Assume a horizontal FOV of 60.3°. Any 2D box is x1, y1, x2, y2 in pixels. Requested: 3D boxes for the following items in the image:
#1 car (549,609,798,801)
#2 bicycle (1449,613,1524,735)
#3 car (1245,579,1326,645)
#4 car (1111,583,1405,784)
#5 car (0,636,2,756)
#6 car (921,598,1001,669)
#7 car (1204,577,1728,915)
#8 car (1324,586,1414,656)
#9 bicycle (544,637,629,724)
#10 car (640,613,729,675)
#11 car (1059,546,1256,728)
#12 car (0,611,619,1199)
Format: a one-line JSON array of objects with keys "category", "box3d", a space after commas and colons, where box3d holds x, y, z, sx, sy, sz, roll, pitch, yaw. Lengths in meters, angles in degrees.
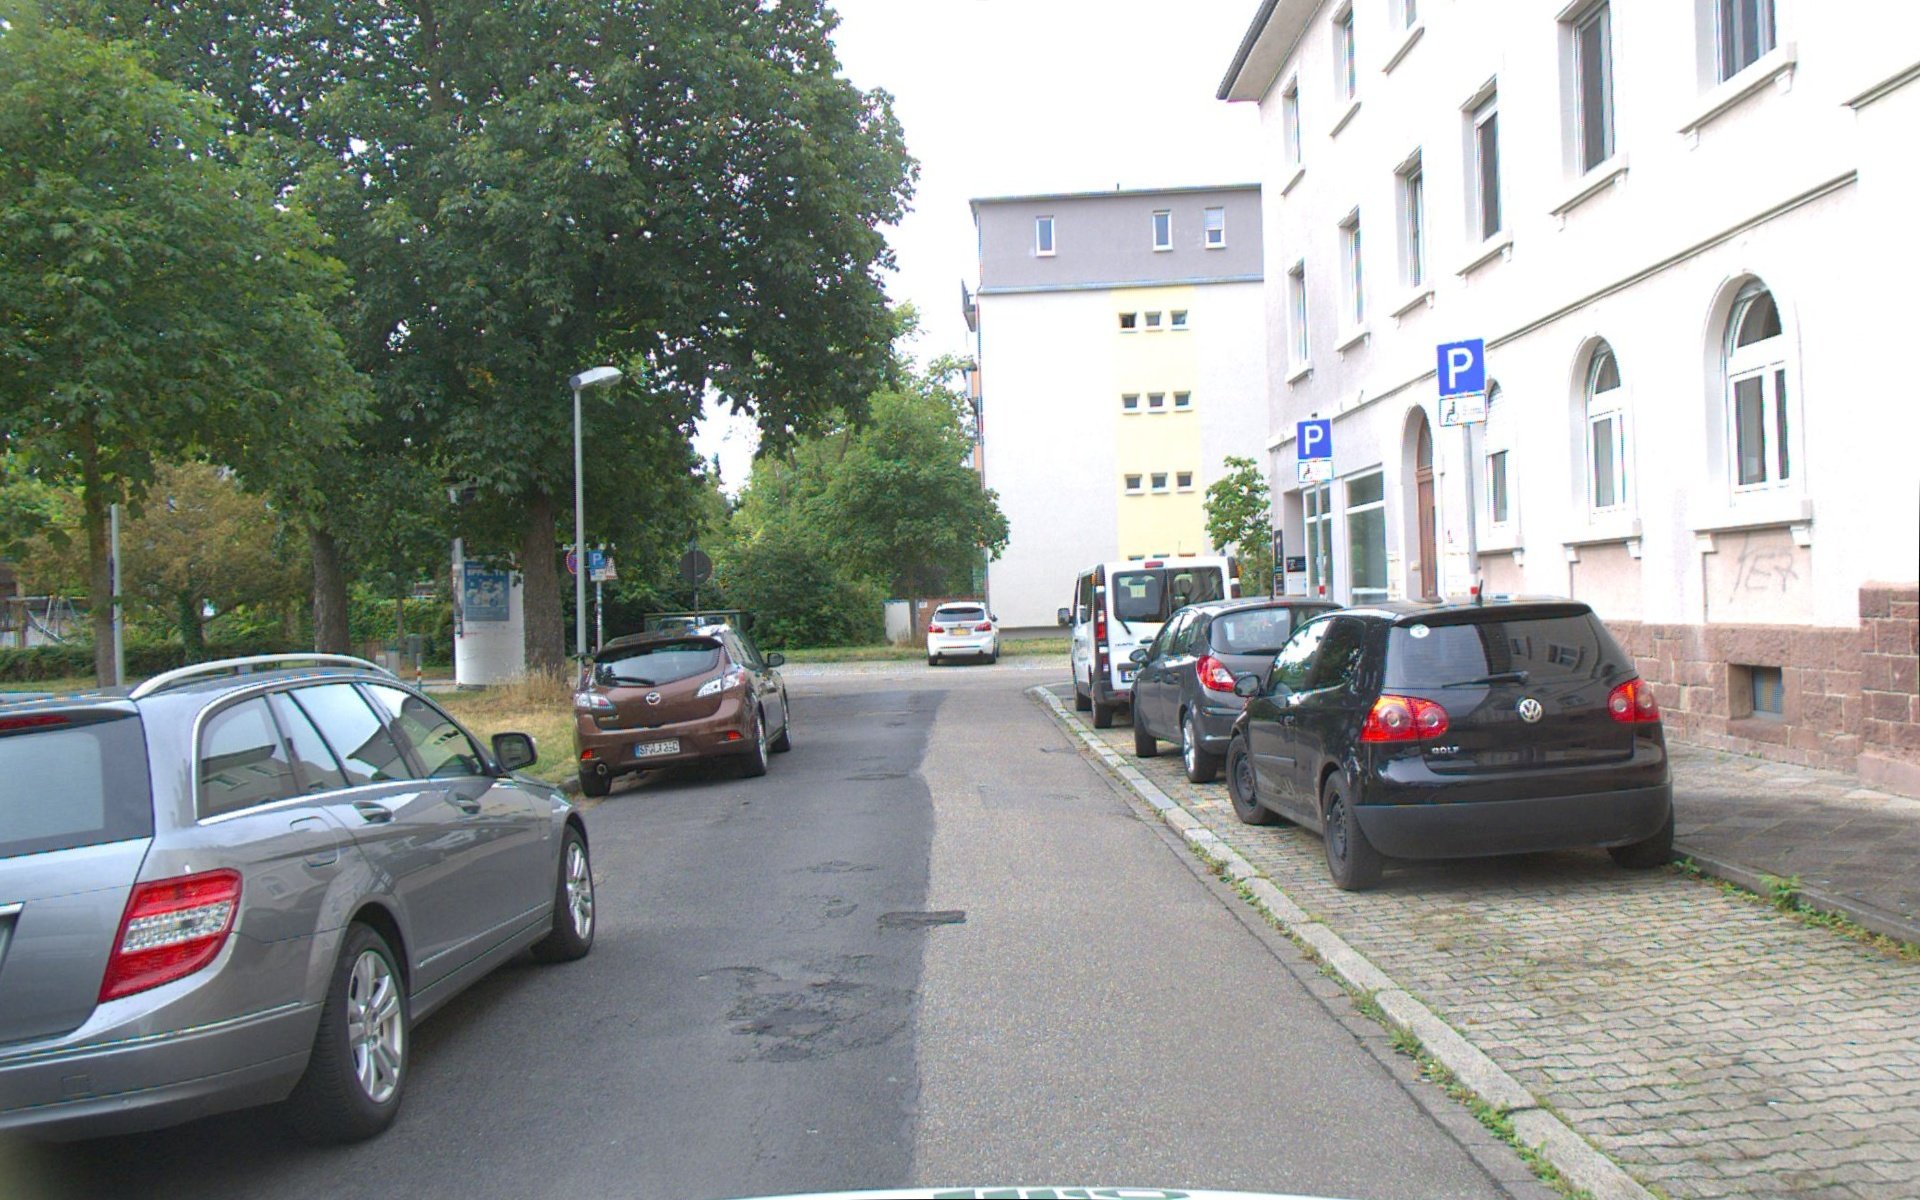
[{"category": "car", "box3d": [-2.691, 0.919, 16.459, 1.677, 1.483, 4.161, -6, 0, -1]}, {"category": "bicycle", "box3d": [5.387, 0.743, 16.959, 0.313, 1.203, 1.155, -1, -1, -3]}, {"category": "car", "box3d": [8.465, 0.277, 43.312, 1.796, 1.593, 4.361, -1, 0, 8]}, {"category": "car", "box3d": [2.555, 0.675, 15.099, 1.655, 1.479, 3.898, -4, 0, -4]}, {"category": "car", "box3d": [-13.277, 1.222, 18.905, 1.858, 1.594, 4.882, -2, -1, -1]}, {"category": "car", "box3d": [0.065, 0.851, 44.177, 1.839, 1.587, 4.152, 0, 3, 4]}, {"category": "car", "box3d": [2.720, 0.690, 10.053, 1.654, 1.479, 4.543, -4, 0, -1]}, {"category": "car", "box3d": [10.836, 0.530, 44.085, 1.869, 1.727, 4.072, -1, 0, 8]}, {"category": "bicycle", "box3d": [-5.003, 1.058, 22.257, 0.652, 1.085, 1.885, -1, -1, 1]}, {"category": "car", "box3d": [-7.350, 1.137, 44.507, 1.640, 1.480, 4.560, -1, 0, 0]}, {"category": "car", "box3d": [2.448, 0.442, 21.762, 1.840, 2.030, 5.011, -3, 0, -1]}, {"category": "car", "box3d": [-2.564, 0.872, 5.964, 1.677, 1.483, 4.447, -6, 0, -1]}]
